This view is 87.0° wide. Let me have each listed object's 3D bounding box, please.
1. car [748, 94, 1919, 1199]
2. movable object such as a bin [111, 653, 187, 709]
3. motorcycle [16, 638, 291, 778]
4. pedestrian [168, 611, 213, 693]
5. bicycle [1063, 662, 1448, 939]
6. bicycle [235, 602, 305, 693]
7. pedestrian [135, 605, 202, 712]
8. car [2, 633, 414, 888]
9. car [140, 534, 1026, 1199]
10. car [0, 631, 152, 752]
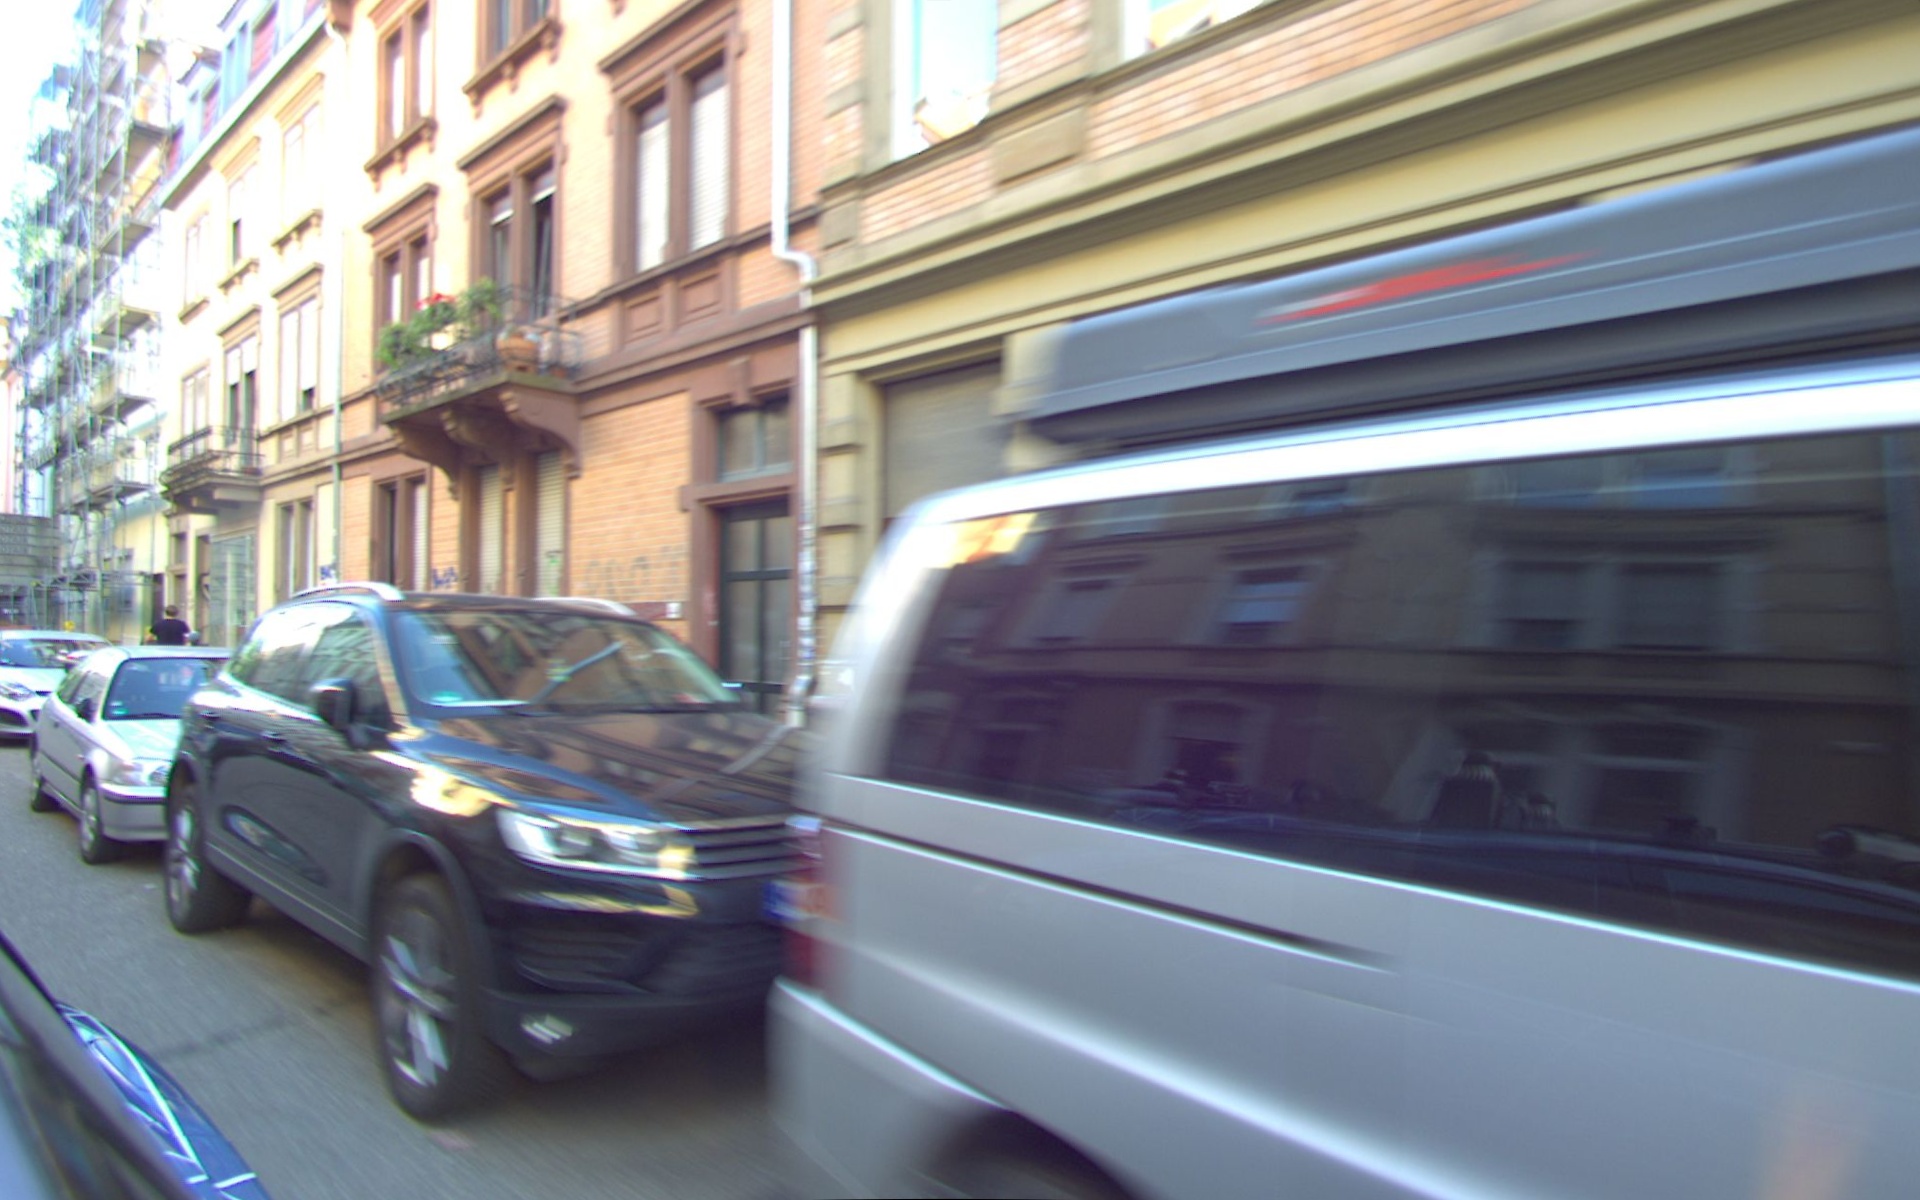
[{"bbox_3d":[1.944,0.457,1.101,4.606,1.798,1.873,-1,-1,41],"label":"car"},{"bbox_3d":[-14.551,1.430,18.155,1.413,0.939,0.754,-1,-2,38],"label":"movable object such as a bin"},{"bbox_3d":[-8.586,1.141,10.859,2.165,1.370,0.844,2,-4,-1],"label":"motorcycle"},{"bbox_3d":[-12.381,0.821,16.277,0.646,1.293,0.445,-1,0,41],"label":"pedestrian"},{"bbox_3d":[1.472,0.928,5.262,1.784,1.134,0.660,-2,0,41],"label":"bicycle"},{"bbox_3d":[-11.565,0.772,16.944,1.711,1.436,0.518,-1,1,42],"label":"bicycle"},{"bbox_3d":[-13.644,0.994,17.452,0.886,1.778,0.679,-1,-2,38],"label":"pedestrian"},{"bbox_3d":[-5.902,0.984,7.760,3.998,1.323,1.681,-1,2,41],"label":"car"},{"bbox_3d":[-2.069,0.697,4.529,4.606,1.636,1.769,-1,-1,42],"label":"car"},{"bbox_3d":[-12.514,1.145,13.696,3.997,1.430,1.657,-1,-4,40],"label":"car"}]
